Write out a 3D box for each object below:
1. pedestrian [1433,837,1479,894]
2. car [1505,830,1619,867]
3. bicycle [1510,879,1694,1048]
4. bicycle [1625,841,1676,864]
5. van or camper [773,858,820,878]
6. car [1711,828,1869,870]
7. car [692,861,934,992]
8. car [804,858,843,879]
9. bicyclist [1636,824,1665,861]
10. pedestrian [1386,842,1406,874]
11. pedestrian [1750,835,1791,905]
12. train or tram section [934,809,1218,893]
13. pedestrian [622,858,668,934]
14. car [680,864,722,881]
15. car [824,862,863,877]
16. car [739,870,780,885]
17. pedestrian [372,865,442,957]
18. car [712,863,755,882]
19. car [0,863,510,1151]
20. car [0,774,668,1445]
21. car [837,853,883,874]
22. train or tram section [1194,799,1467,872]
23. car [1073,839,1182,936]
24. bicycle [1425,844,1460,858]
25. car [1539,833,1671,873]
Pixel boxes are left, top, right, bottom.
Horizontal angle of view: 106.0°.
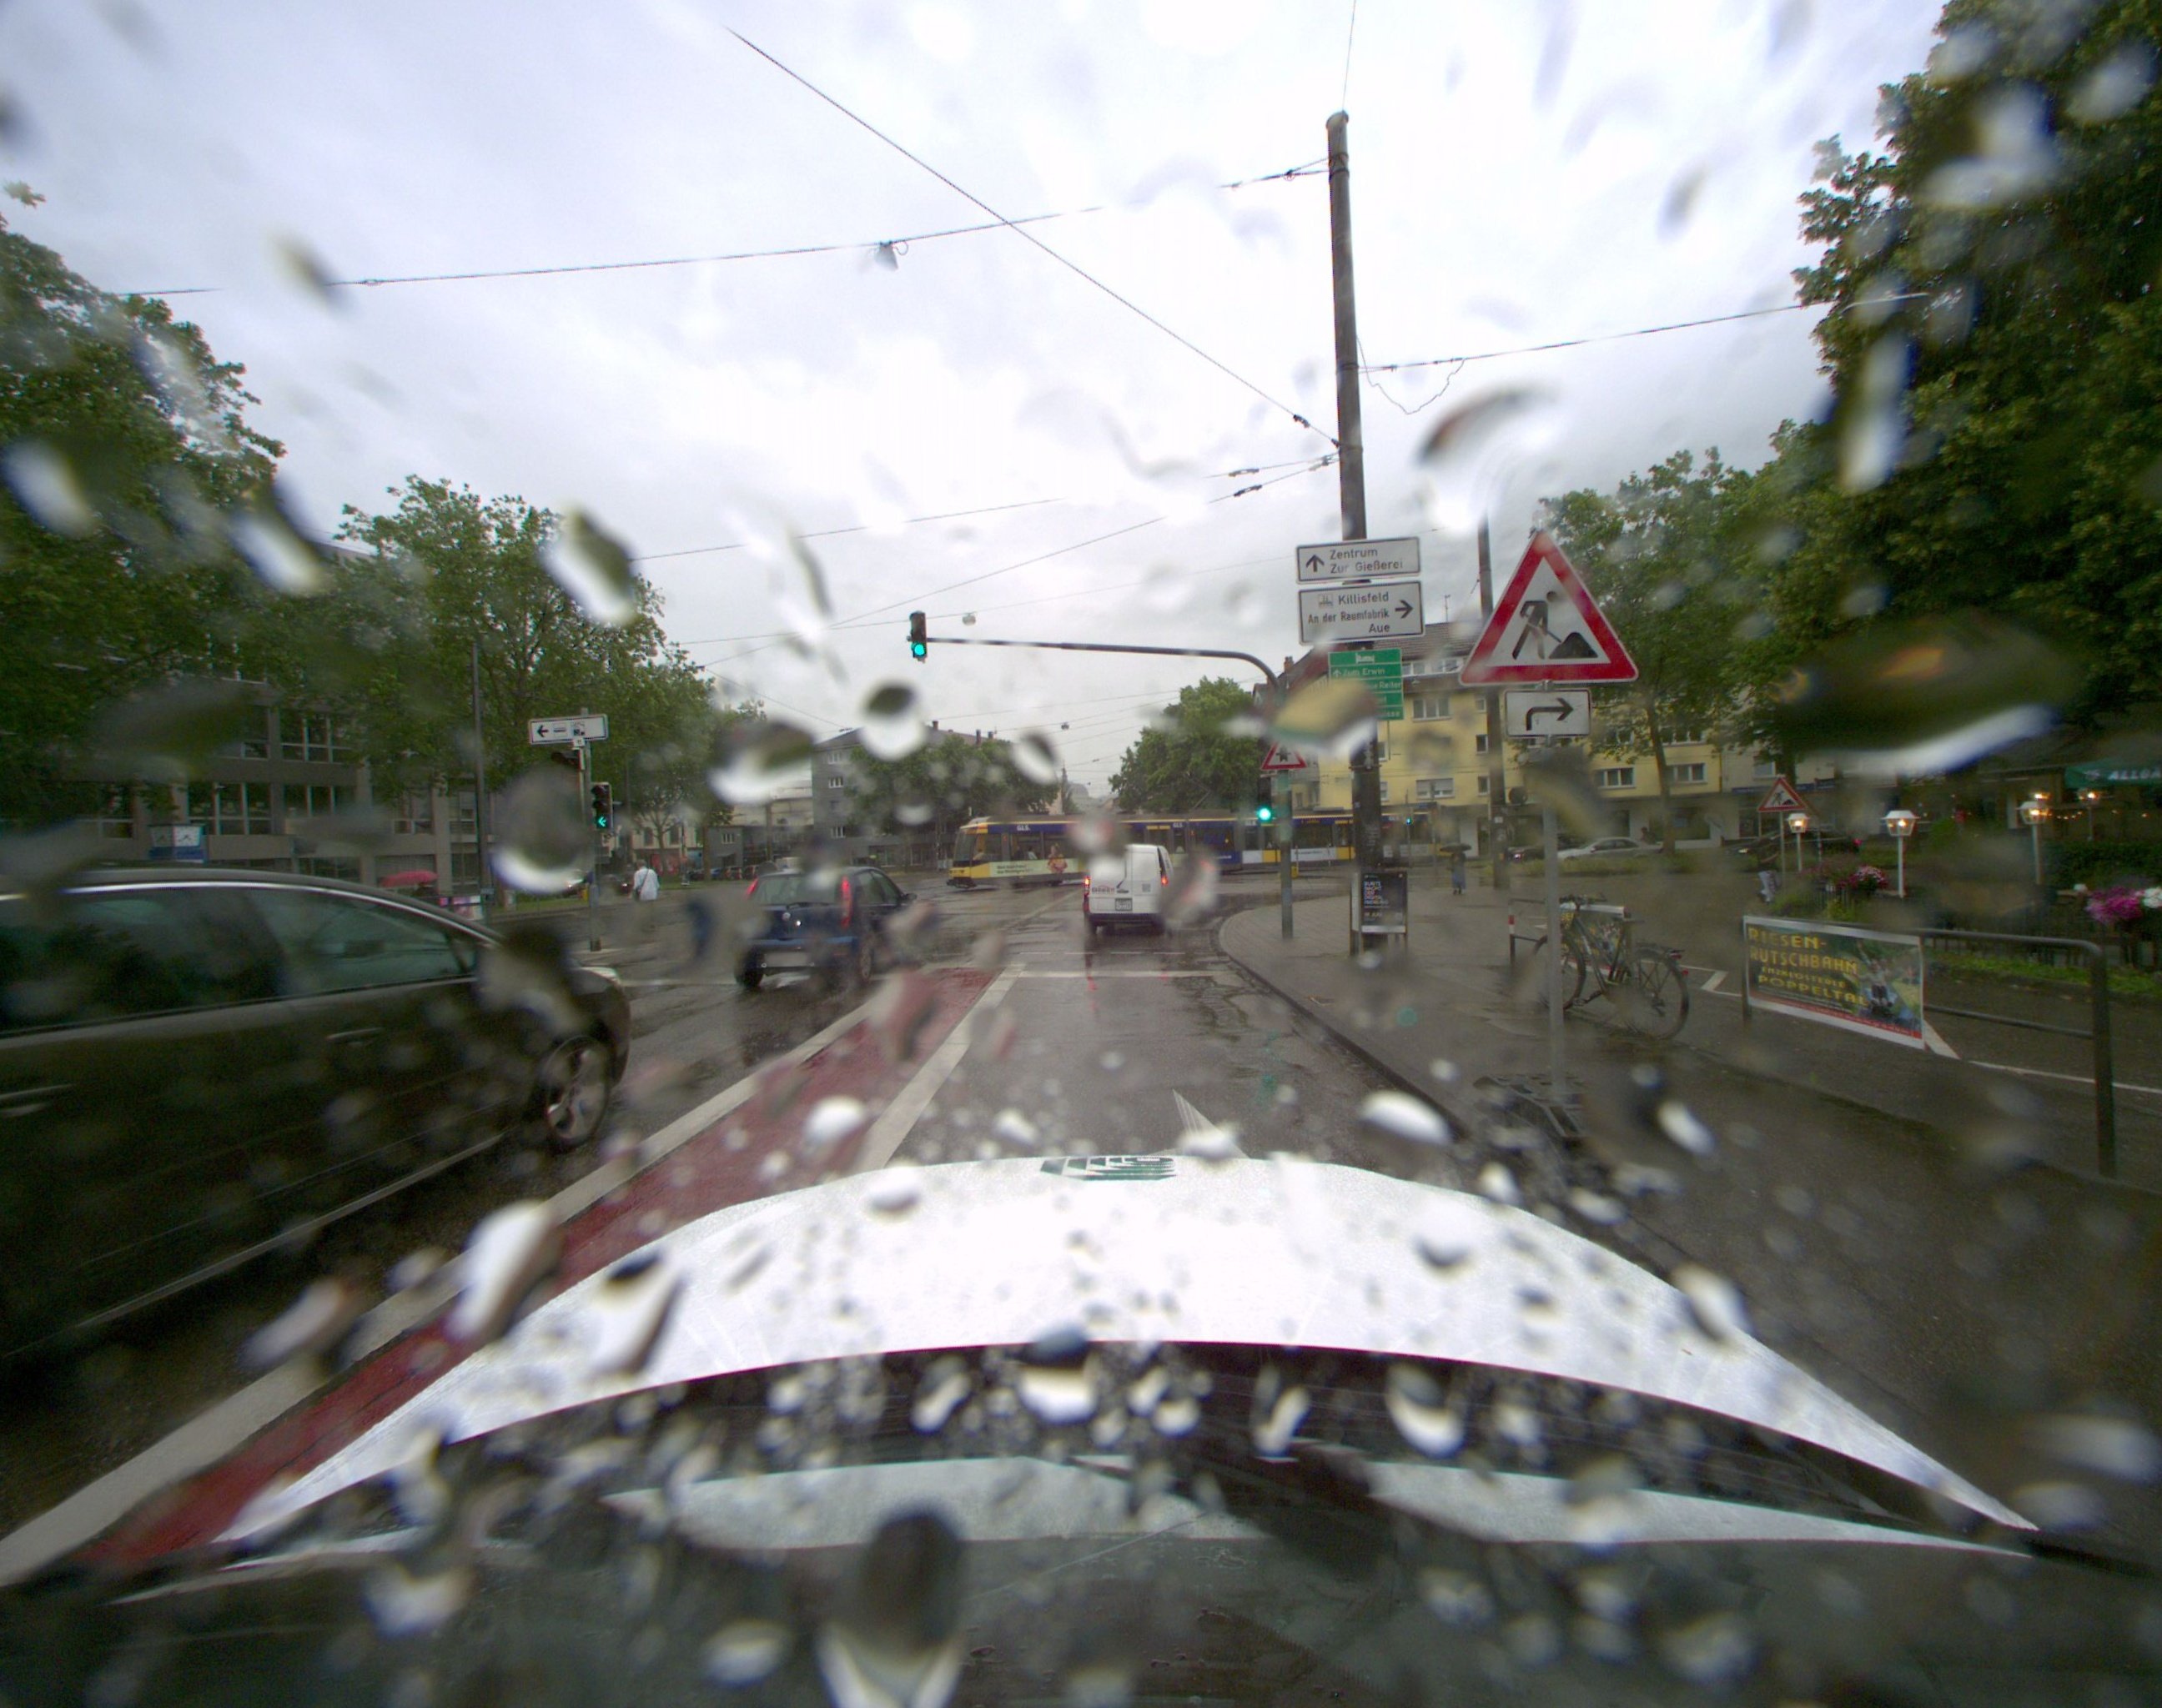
[{"bbox_3d":[11.313,0.332,24.573,1.092,1.666,1.004,-1,1,35],"label":"pedestrian"},{"bbox_3d":[22.648,-0.274,38.491,4.243,1.501,1.885,-2,1,10],"label":"car"},{"bbox_3d":[4.352,0.848,6.963,0.420,1.168,1.793,0,1,0],"label":"bicycle"},{"bbox_3d":[26.615,-0.076,38.084,1.798,1.031,0.722,-1,1,12],"label":"bicycle"},{"bbox_3d":[-30.862,1.519,88.484,1.975,2.075,4.682,-2,0,25],"label":"van or camper"},{"bbox_3d":[29.430,-0.219,33.953,4.590,1.485,1.870,-2,1,15],"label":"car"},{"bbox_3d":[-3.393,0.846,11.159,1.875,1.459,3.834,-1,-1,3],"label":"car"},{"bbox_3d":[-27.865,1.577,88.243,1.977,2.013,4.019,-2,1,18],"label":"car"},{"bbox_3d":[26.640,-0.526,38.084,0.881,1.716,0.717,-1,1,12],"label":"bicyclist"},{"bbox_3d":[16.705,0.206,43.216,0.804,1.677,1.023,-2,0,28],"label":"pedestrian"},{"bbox_3d":[16.557,0.377,19.557,0.546,1.644,0.389,-4,0,3],"label":"pedestrian"},{"bbox_3d":[0.253,-0.361,39.914,14.637,3.558,3.083,-2,1,-34],"label":"train or tram section"},{"bbox_3d":[-9.712,0.908,18.132,0.739,1.610,0.710,-3,1,-37],"label":"pedestrian"},{"bbox_3d":[-44.938,2.144,96.431,1.974,1.763,4.026,-2,1,32],"label":"car"},{"bbox_3d":[-25.535,1.659,87.688,1.933,1.625,4.020,-1,-1,20],"label":"car"},{"bbox_3d":[-35.695,2.600,90.500,1.975,1.614,4.023,-2,-2,27],"label":"car"},{"bbox_3d":[-13.227,1.087,16.008,0.954,1.711,0.820,-3,1,-37],"label":"pedestrian"},{"bbox_3d":[-39.505,2.104,92.693,1.974,2.014,4.025,-1,-1,31],"label":"car"},{"bbox_3d":[-6.975,0.925,6.409,1.799,1.536,4.194,-2,1,3],"label":"car"},{"bbox_3d":[-3.614,0.649,3.041,1.794,1.709,4.194,-1,1,3],"label":"car"},{"bbox_3d":[-23.247,1.017,85.838,2.041,2.013,4.426,-1,1,32],"label":"car"},{"bbox_3d":[13.826,-1.056,45.389,14.621,3.558,3.107,-2,1,-9],"label":"train or tram section"},{"bbox_3d":[1.133,0.612,17.584,1.892,1.797,4.124,-1,1,9],"label":"car"},{"bbox_3d":[24.227,-0.195,54.570,2.024,0.897,0.616,-2,0,16],"label":"bicycle"},{"bbox_3d":[22.601,-0.058,35.295,4.452,1.489,1.747,-2,1,15],"label":"car"}]
